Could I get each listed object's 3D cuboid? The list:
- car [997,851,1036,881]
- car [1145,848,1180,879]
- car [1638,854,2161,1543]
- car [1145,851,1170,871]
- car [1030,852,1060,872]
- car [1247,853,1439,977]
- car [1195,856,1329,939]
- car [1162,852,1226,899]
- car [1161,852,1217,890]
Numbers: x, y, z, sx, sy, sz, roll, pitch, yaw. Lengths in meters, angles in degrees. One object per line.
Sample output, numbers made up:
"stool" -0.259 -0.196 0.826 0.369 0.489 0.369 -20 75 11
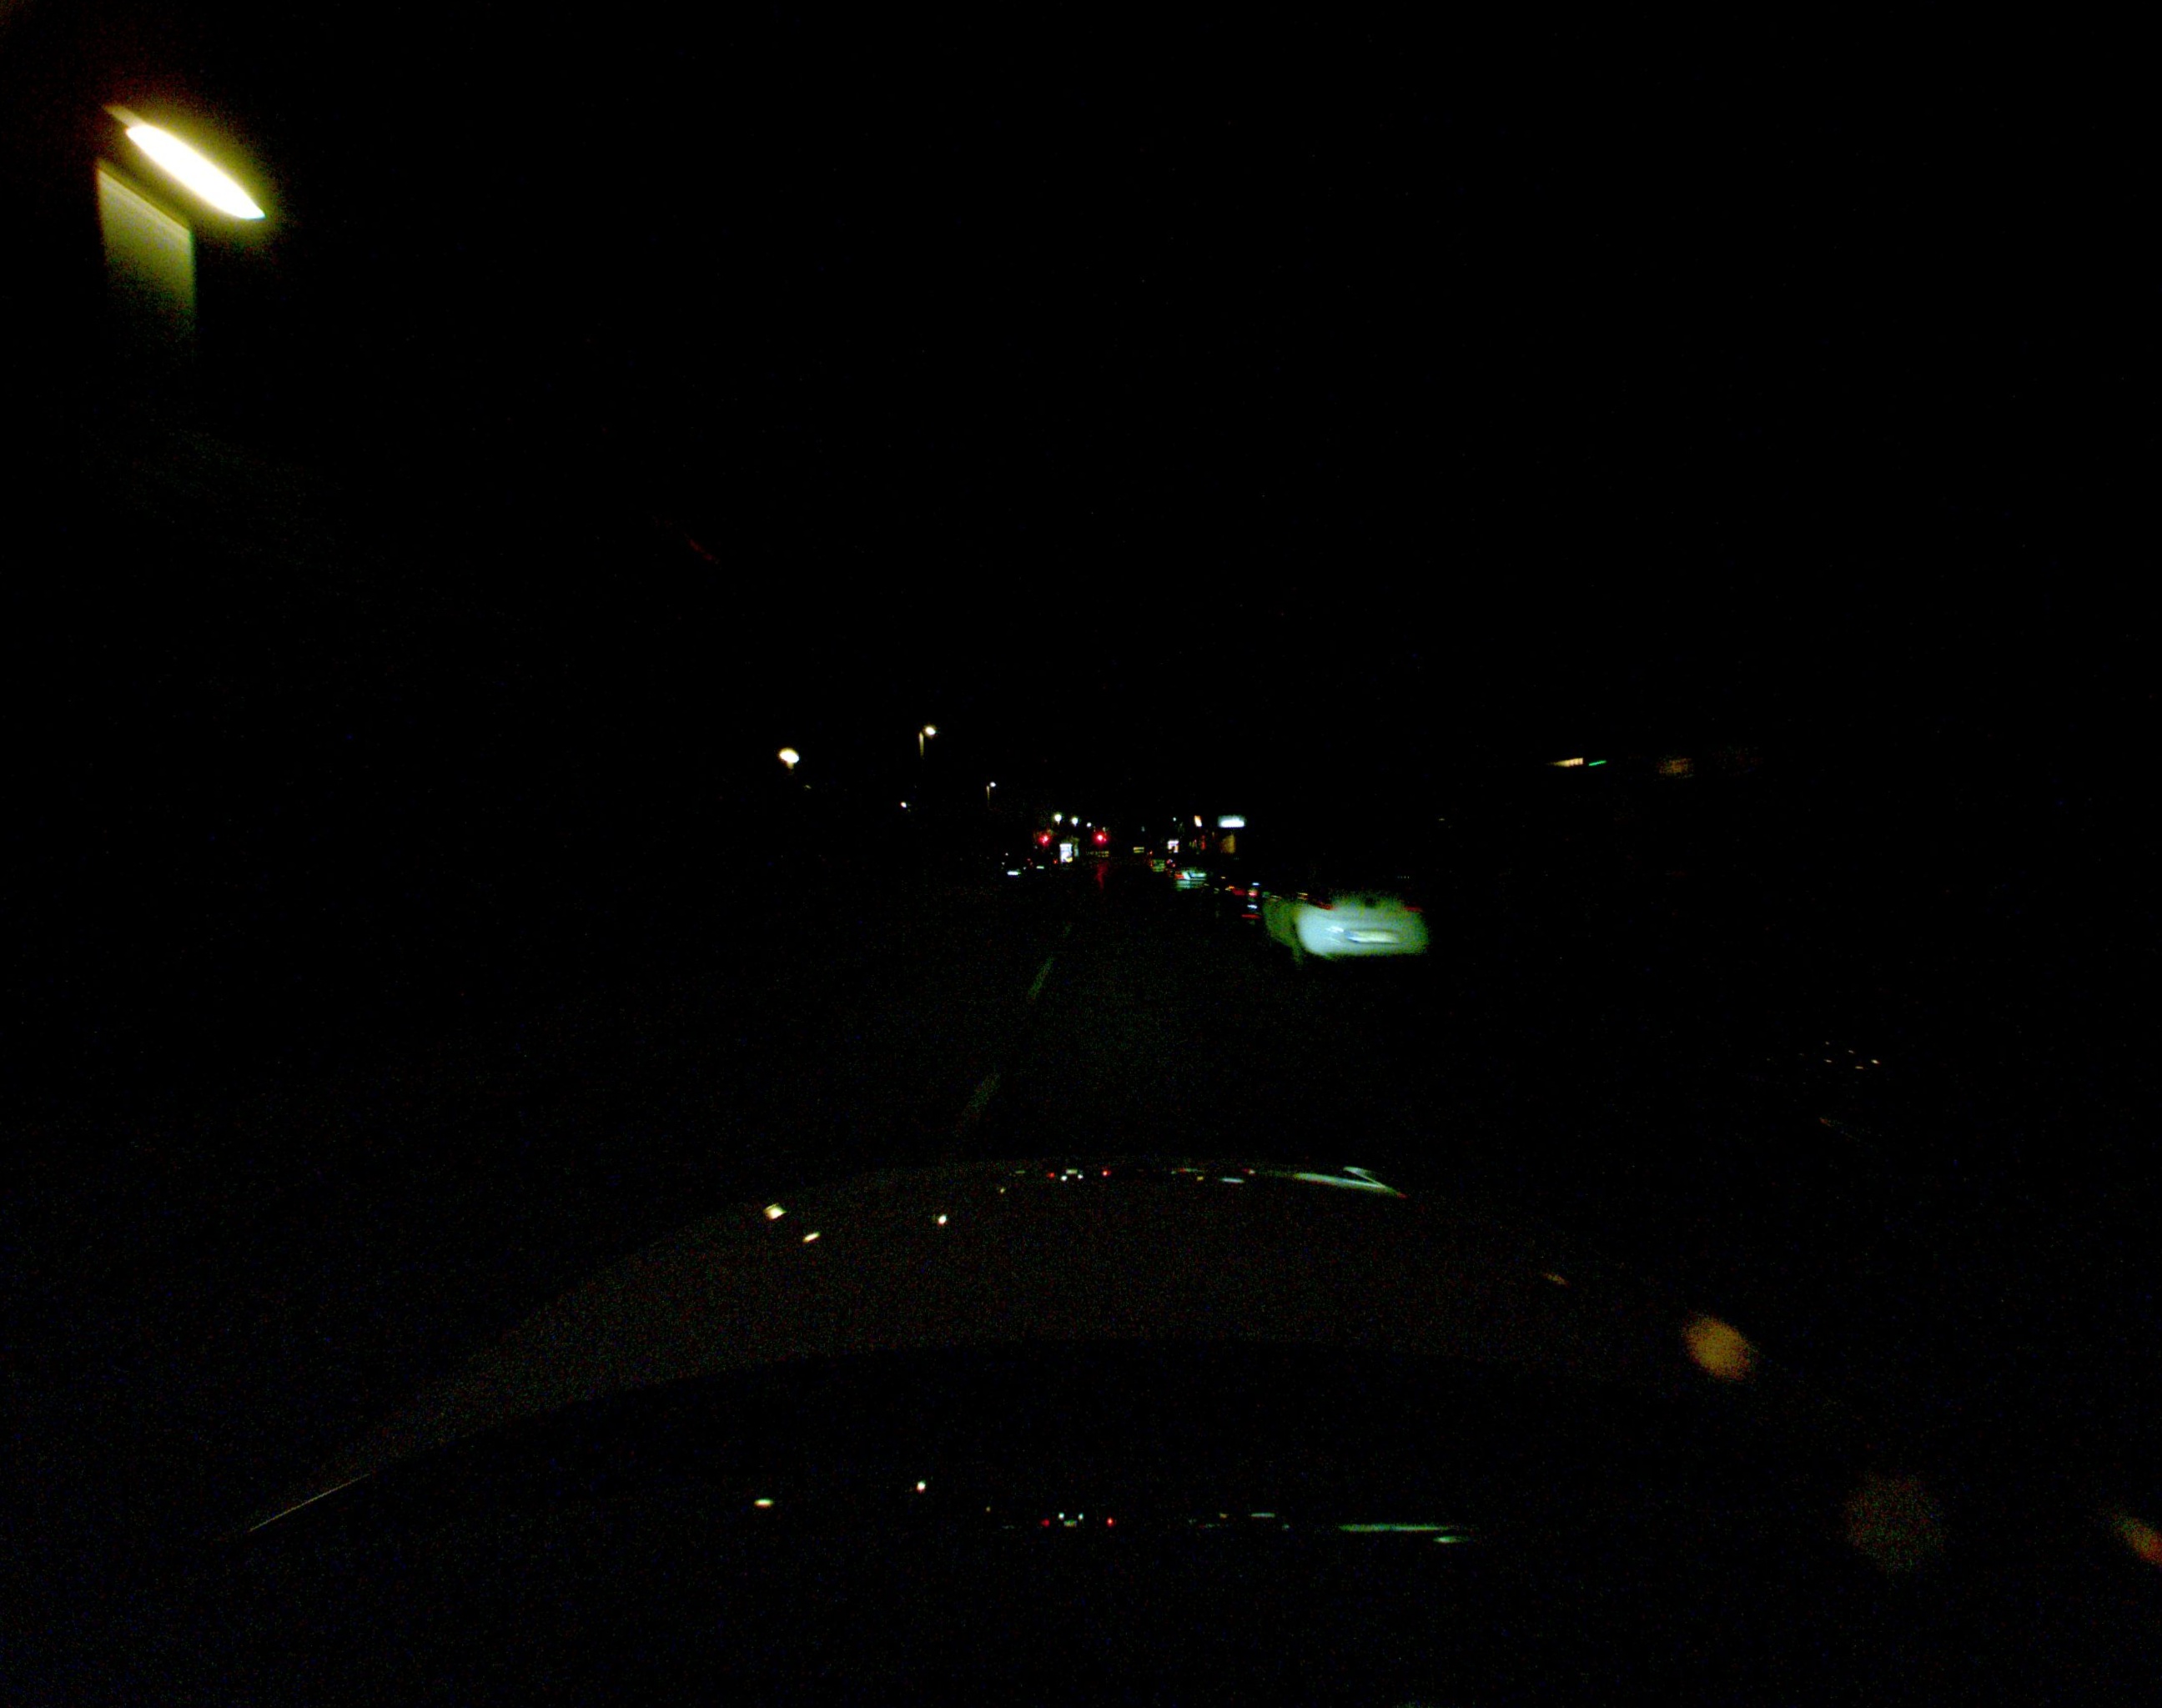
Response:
"car" -3.416 0.665 43.470 1.685 1.524 3.692 0 -1 1
"car" 4.788 0.533 48.224 1.779 1.641 4.383 -3 0 3
"car" 3.120 0.741 1.337 1.671 1.447 3.999 1 0 0
"car" 6.010 0.503 64.415 1.849 1.442 4.599 -3 0 4
"car" -2.618 0.586 60.440 1.683 1.436 4.134 1 0 5
"car" 3.512 0.726 11.611 1.632 1.466 3.778 0 0 2
"car" 3.445 0.757 16.344 1.756 1.416 4.440 0 0 1
"car" 3.766 0.683 27.896 1.670 1.447 4.613 -1 0 2
"car" 4.331 0.665 33.157 1.773 1.437 4.290 0 0 1
